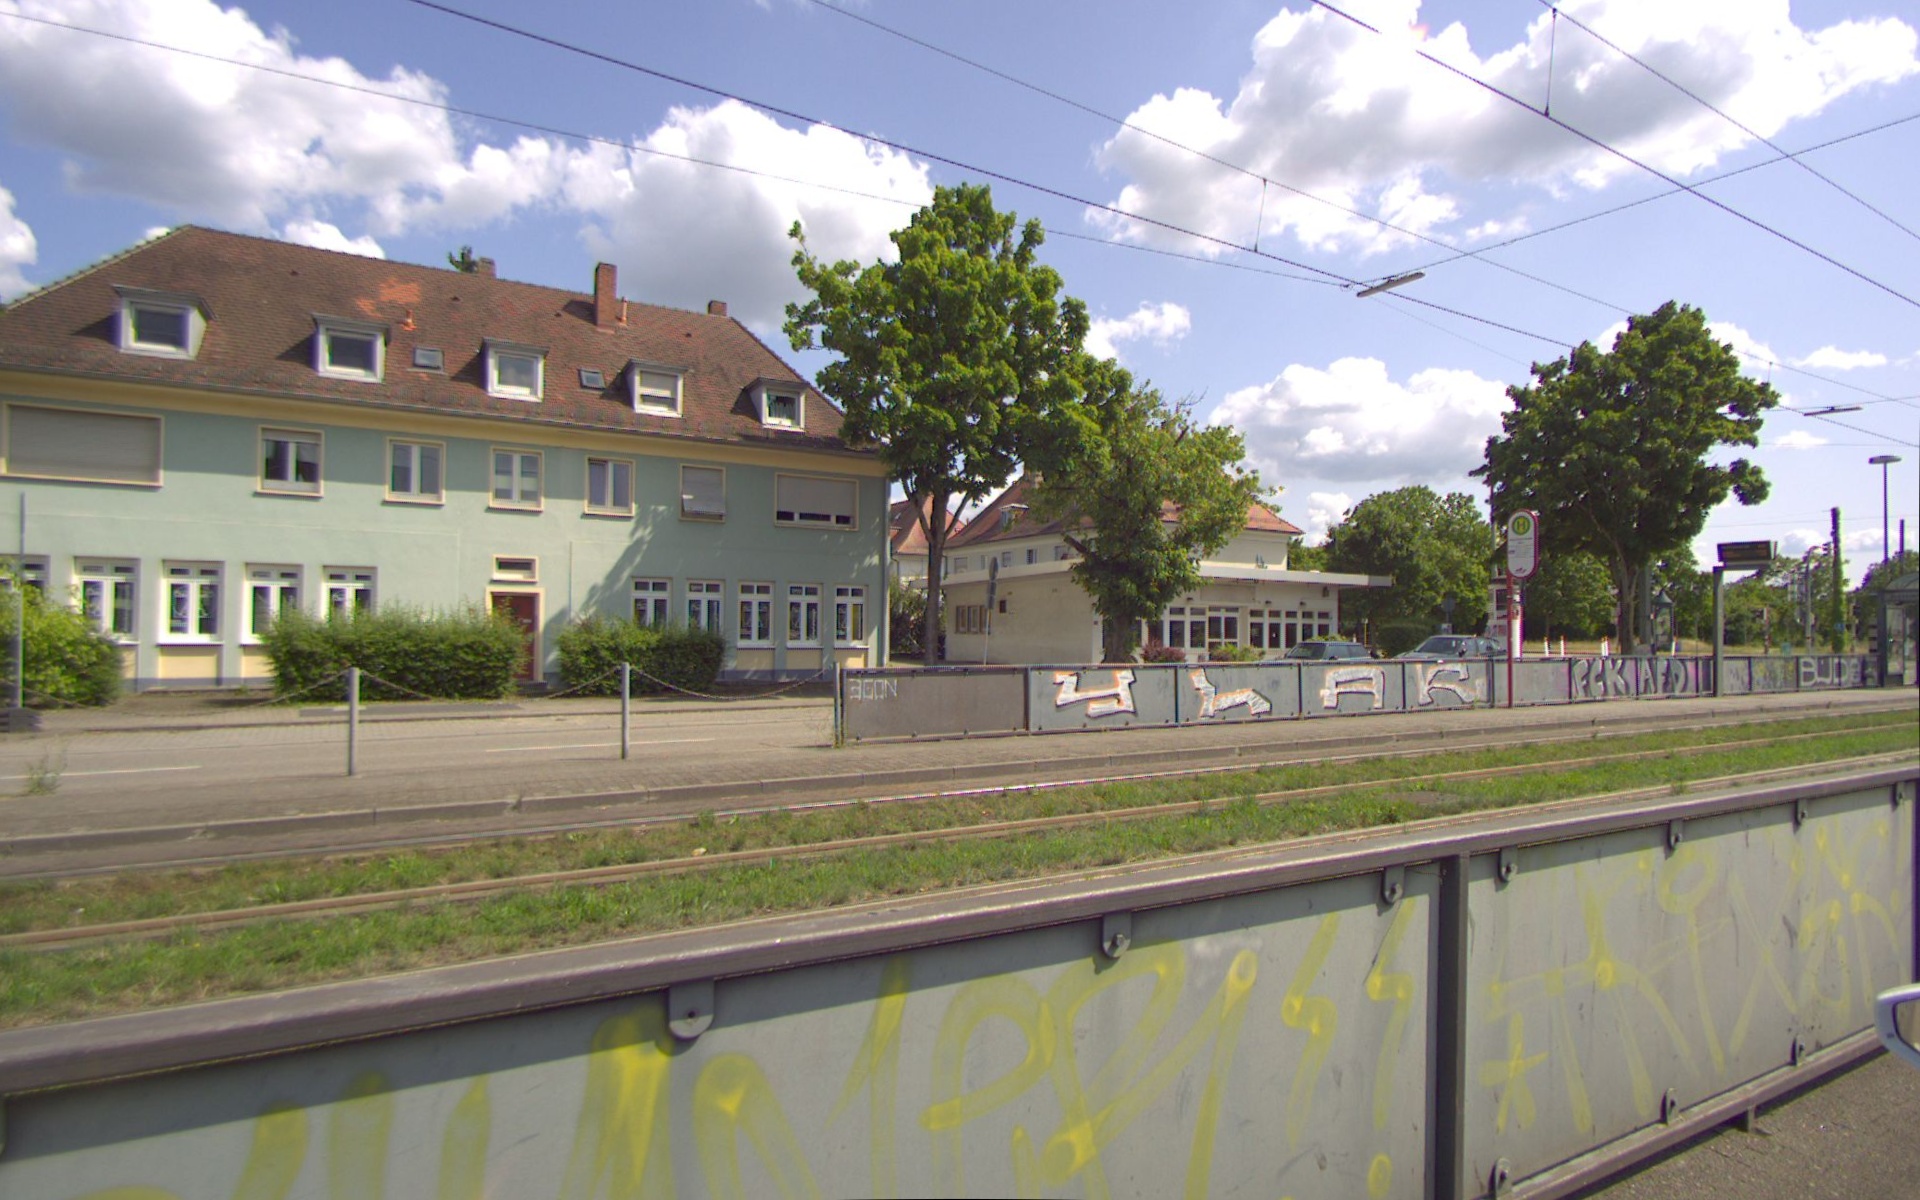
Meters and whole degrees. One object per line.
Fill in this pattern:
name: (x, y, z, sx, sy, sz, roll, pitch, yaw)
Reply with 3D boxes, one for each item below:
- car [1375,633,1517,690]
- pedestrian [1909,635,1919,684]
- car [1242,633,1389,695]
car: (15.196, 1.869, 31.320, 4.707, 1.635, 2.046, 2, -2, -36)
pedestrian: (27.821, 1.702, 28.518, 0.850, 1.394, 1.054, 2, 0, -30)
car: (9.949, 1.753, 28.084, 3.882, 1.605, 1.779, 1, -1, -29)
